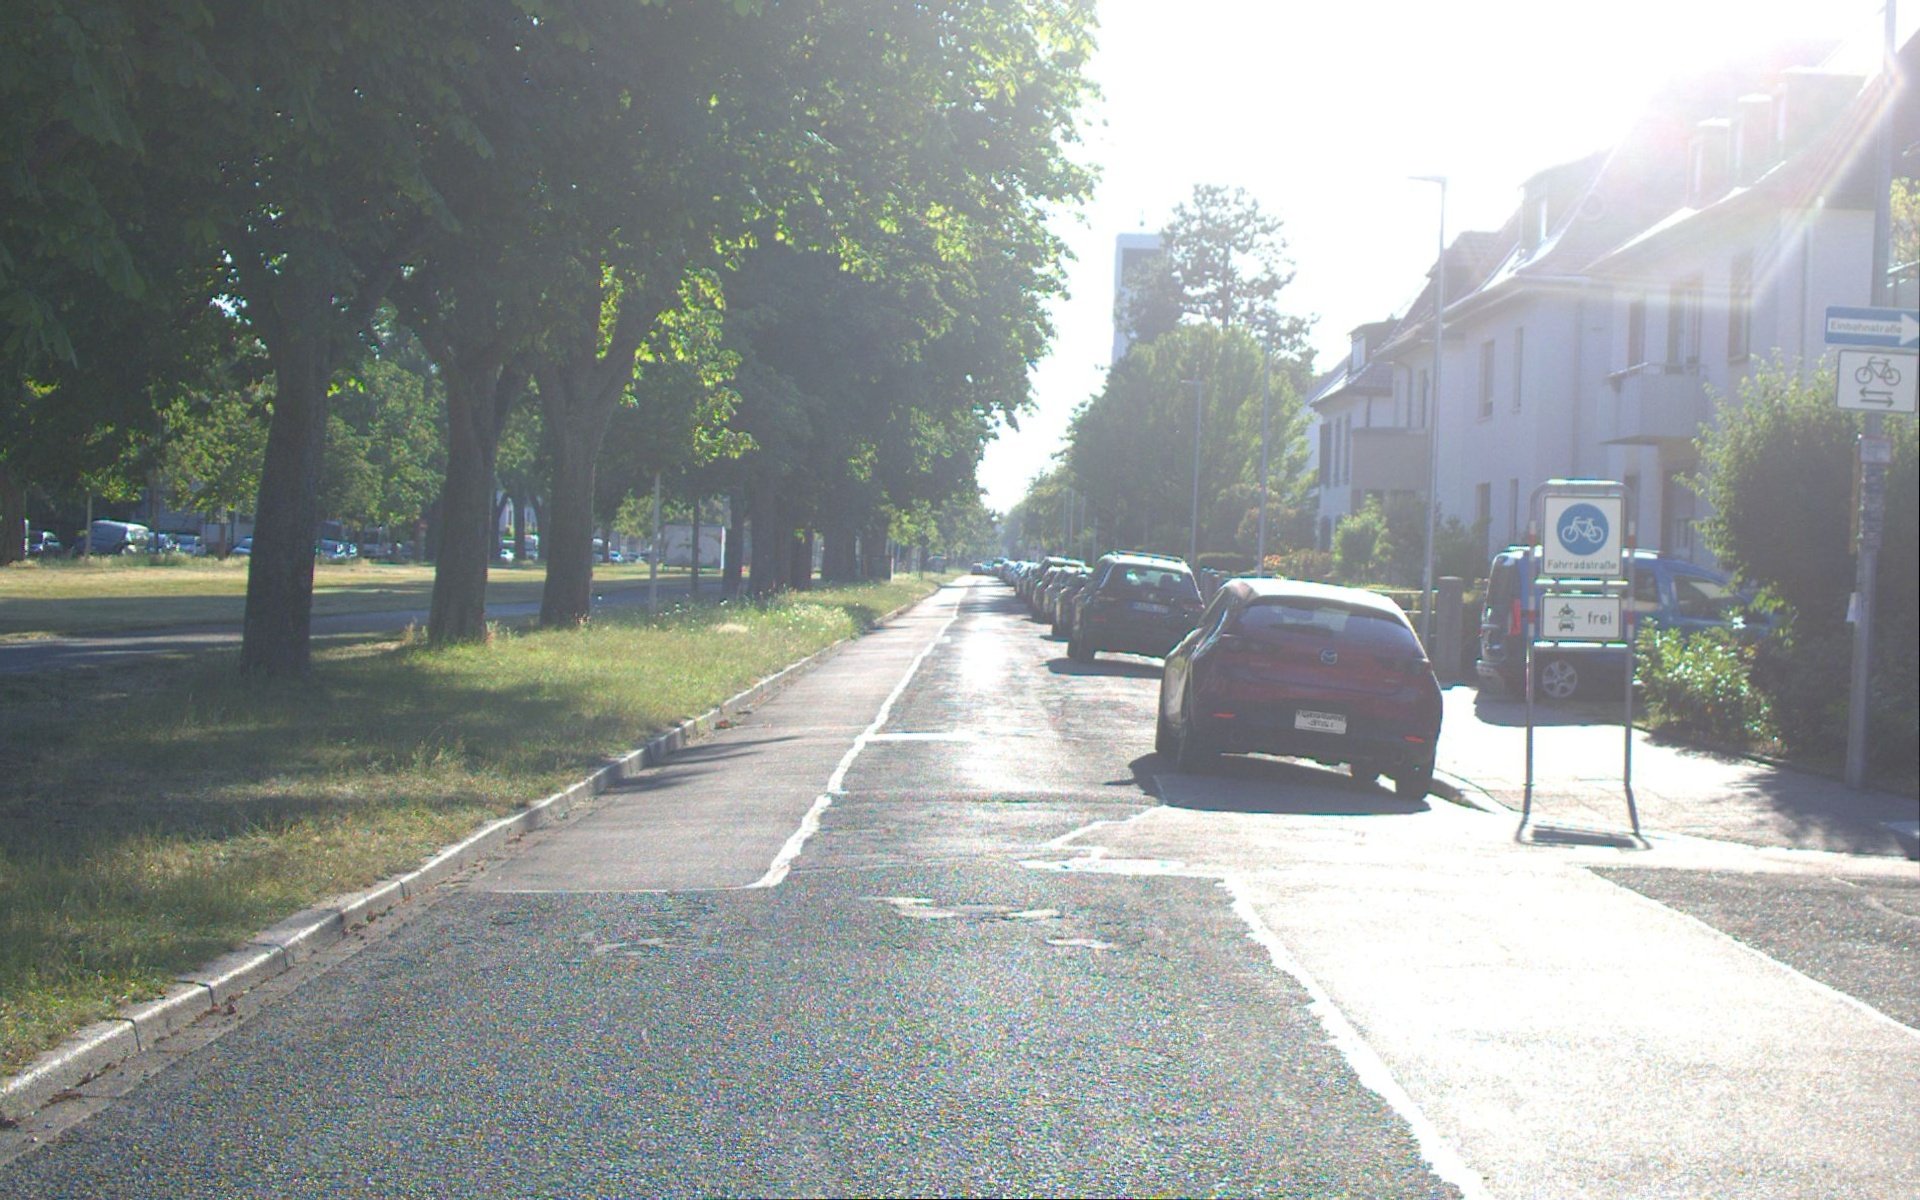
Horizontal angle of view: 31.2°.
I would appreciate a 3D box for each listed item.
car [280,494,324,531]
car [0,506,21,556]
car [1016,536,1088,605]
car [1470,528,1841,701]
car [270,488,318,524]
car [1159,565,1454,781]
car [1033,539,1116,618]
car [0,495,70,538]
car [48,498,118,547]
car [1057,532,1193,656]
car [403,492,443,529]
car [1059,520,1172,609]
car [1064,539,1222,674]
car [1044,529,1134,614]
[{"bbox_3d":[-39.846,-5.273,208.124,1.993,2.007,4.001,4,0,-4],"label":"car"},{"bbox_3d":[-33.535,-2.428,116.806,2.023,1.653,3.984,4,0,1],"label":"car"},{"bbox_3d":[2.914,-0.929,109.499,1.993,2.007,4.000,4,0,-1],"label":"car"},{"bbox_3d":[8.217,0.191,40.819,3.986,1.816,1.760,2,-5,-4],"label":"car"},{"bbox_3d":[-40.308,-5.689,208.167,1.993,1.907,4.000,4,0,0],"label":"car"},{"bbox_3d":[2.494,0.497,25.653,1.709,1.355,4.203,4,0,0],"label":"car"},{"bbox_3d":[3.151,-0.585,95.097,1.993,2.007,4.000,4,0,-1],"label":"car"},{"bbox_3d":[-39.387,-3.553,146.150,1.993,1.612,4.000,4,0,-1],"label":"car"},{"bbox_3d":[-34.703,-3.051,136.065,1.728,1.684,3.879,4,-1,-1],"label":"car"},{"bbox_3d":[2.709,-0.103,57.288,1.882,1.853,4.000,4,0,-1],"label":"car"},{"bbox_3d":[-31.699,-5.296,203.042,1.654,1.932,3.567,4,-1,0],"label":"car"},{"bbox_3d":[3.105,-0.699,69.322,1.993,1.648,4.000,3,0,0],"label":"car"},{"bbox_3d":[2.689,0.064,51.448,1.993,1.775,4.000,4,1,-1],"label":"car"},{"bbox_3d":[3.323,-0.726,89.314,1.993,2.007,4.000,4,0,-1],"label":"car"}]
